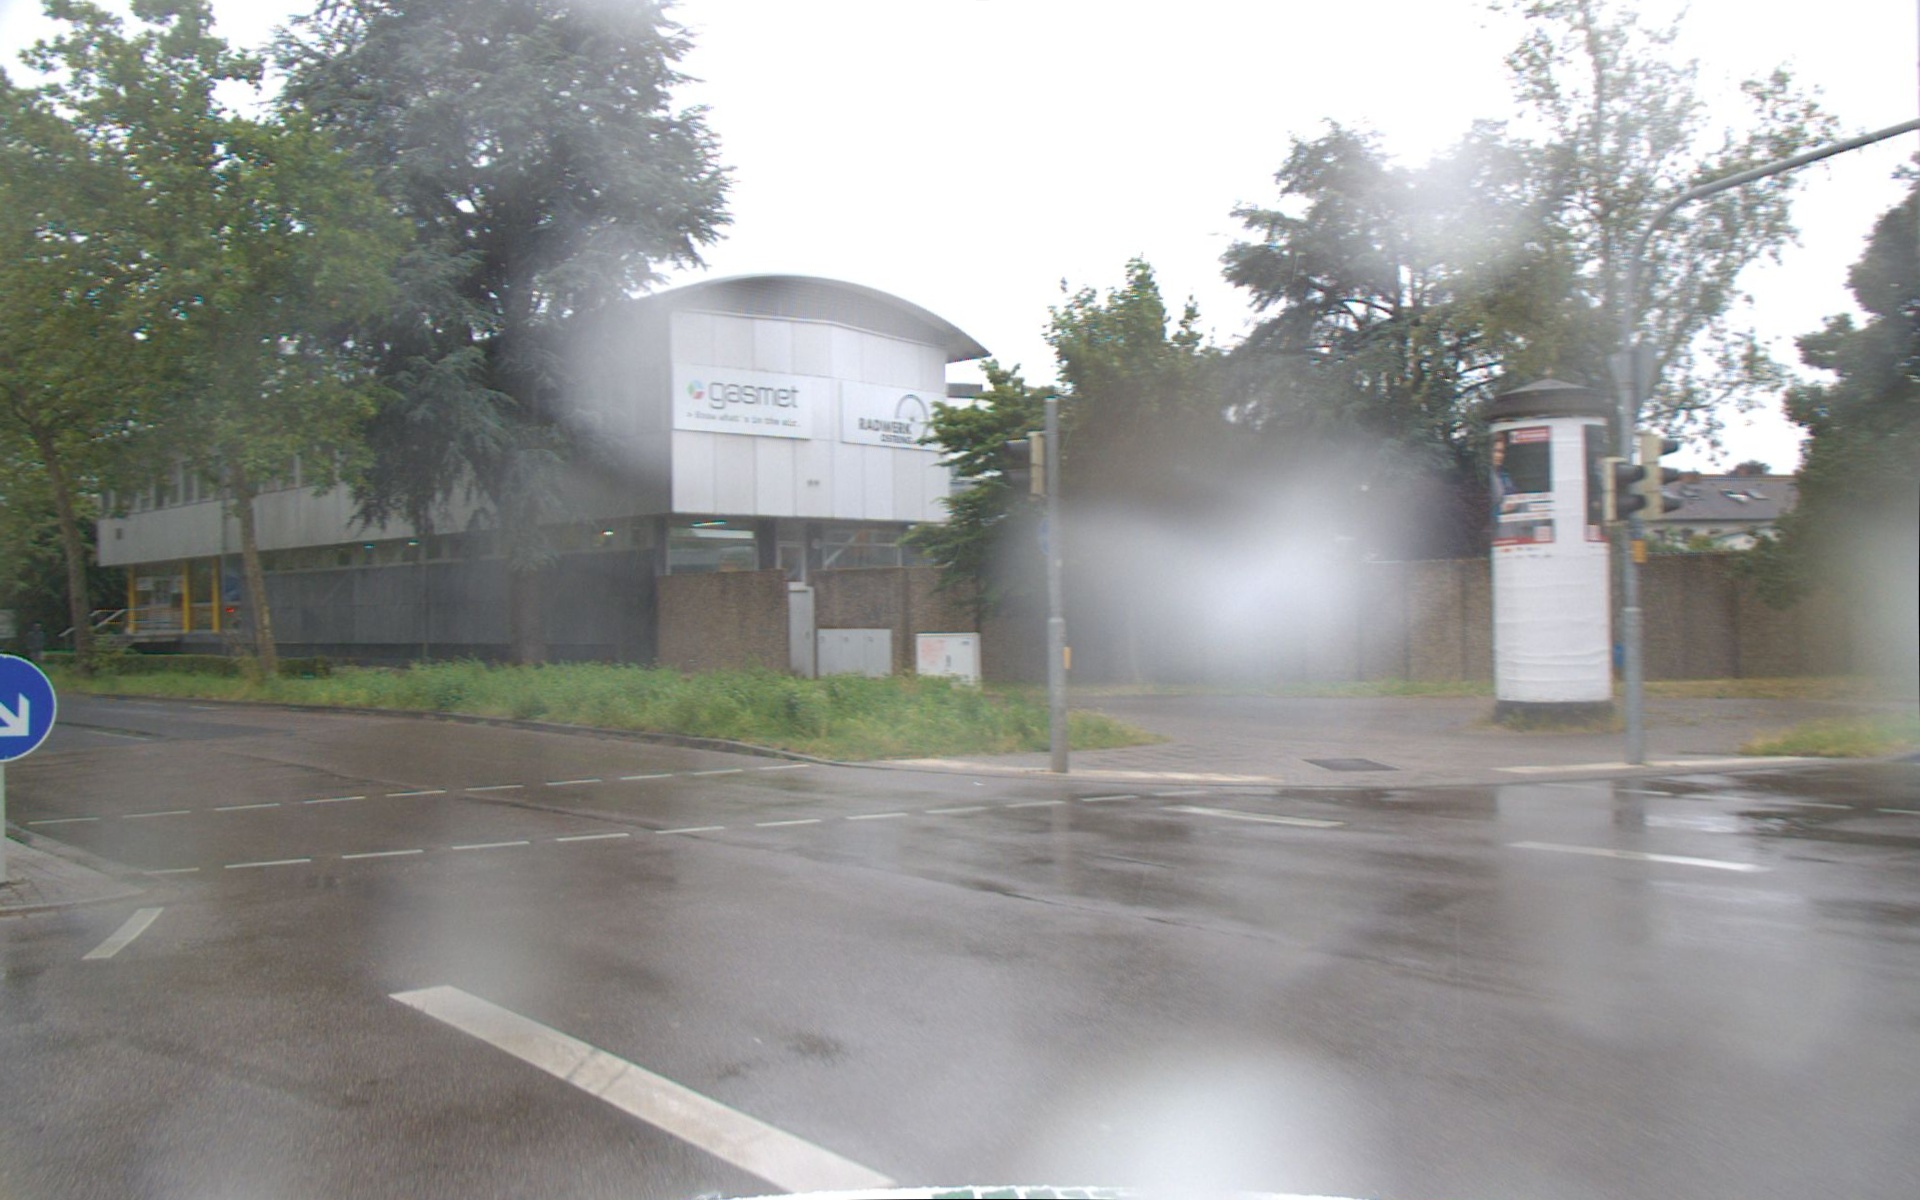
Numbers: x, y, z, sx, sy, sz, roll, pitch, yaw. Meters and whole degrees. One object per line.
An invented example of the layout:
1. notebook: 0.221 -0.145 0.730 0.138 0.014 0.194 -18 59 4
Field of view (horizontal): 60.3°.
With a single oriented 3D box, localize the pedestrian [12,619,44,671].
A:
1. pedestrian: -30.787 1.482 54.640 0.809 1.697 0.670 0 1 38
